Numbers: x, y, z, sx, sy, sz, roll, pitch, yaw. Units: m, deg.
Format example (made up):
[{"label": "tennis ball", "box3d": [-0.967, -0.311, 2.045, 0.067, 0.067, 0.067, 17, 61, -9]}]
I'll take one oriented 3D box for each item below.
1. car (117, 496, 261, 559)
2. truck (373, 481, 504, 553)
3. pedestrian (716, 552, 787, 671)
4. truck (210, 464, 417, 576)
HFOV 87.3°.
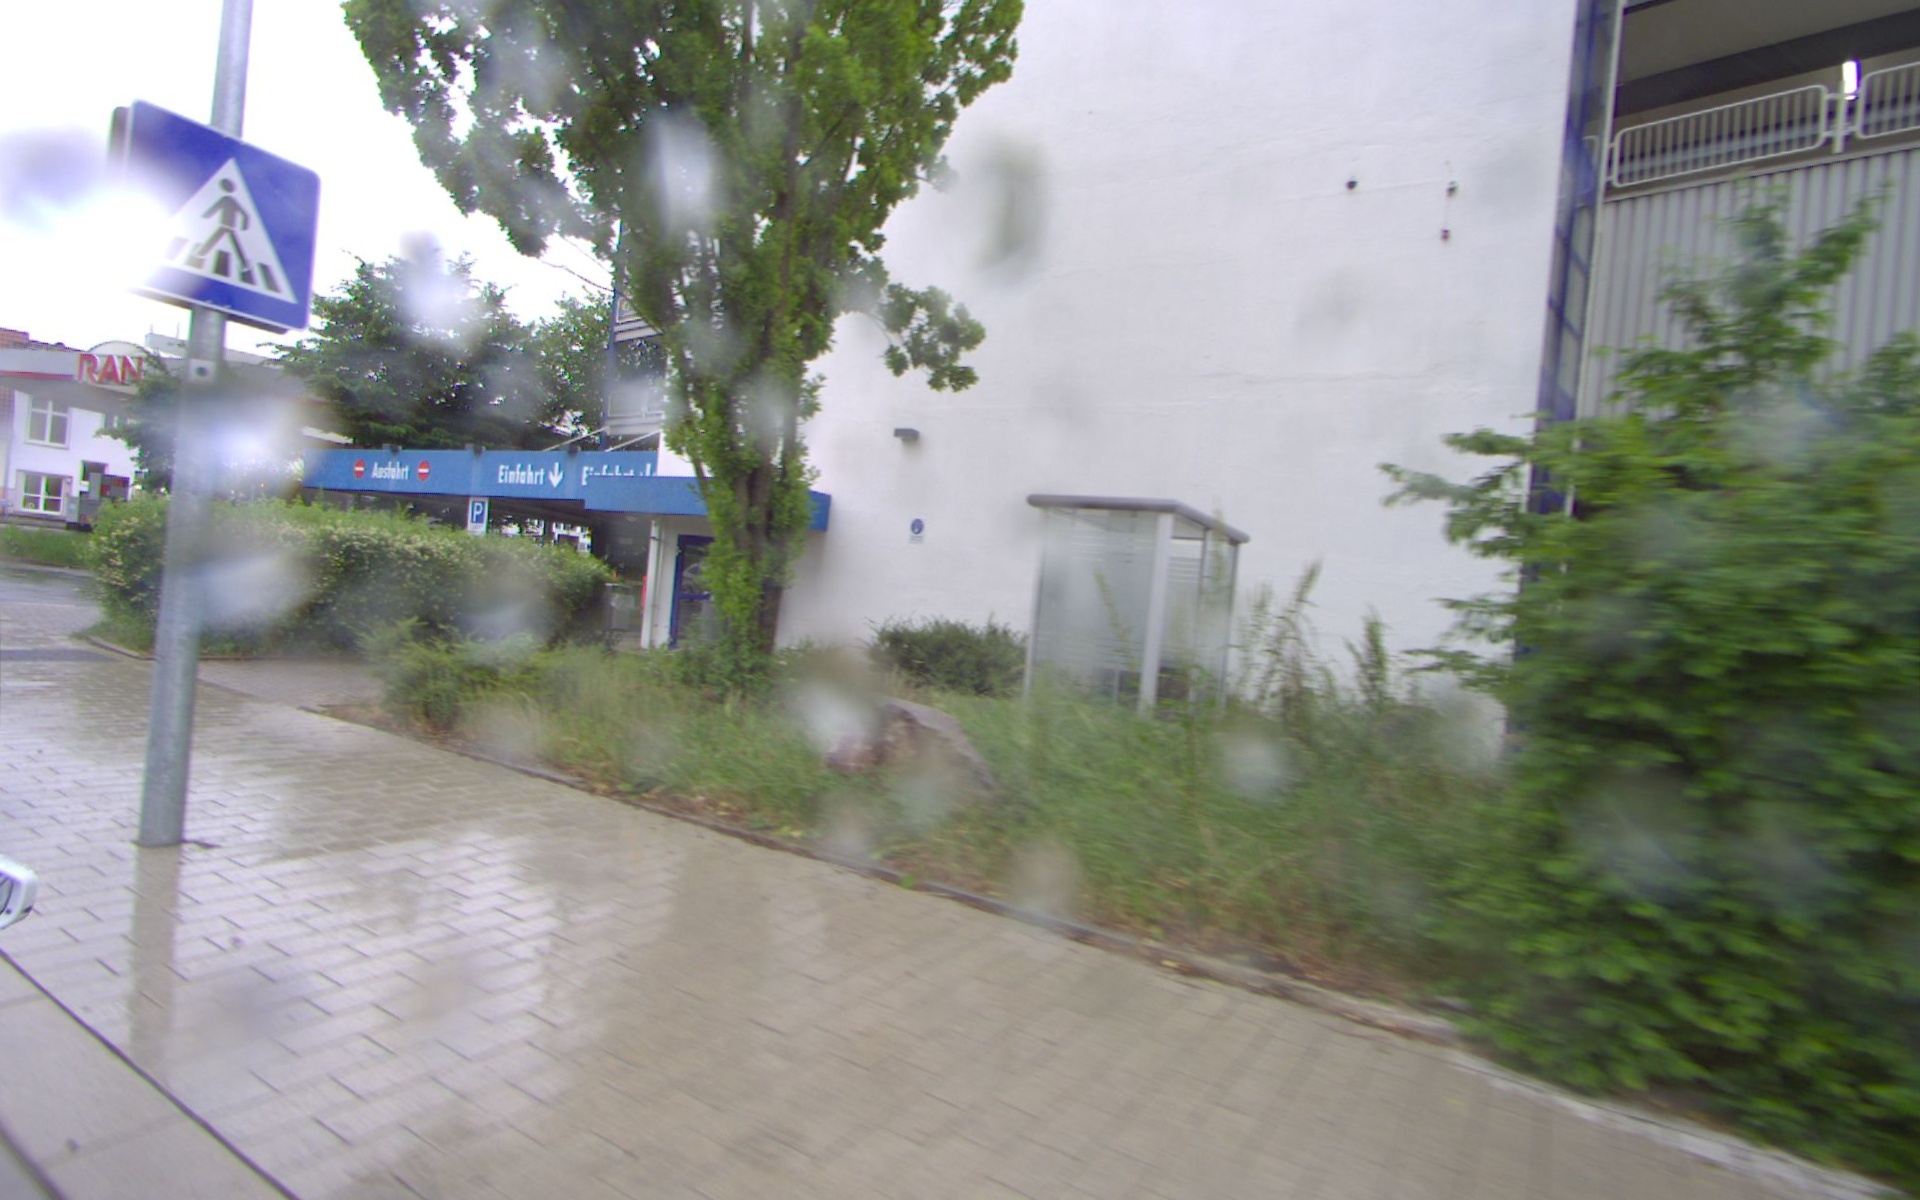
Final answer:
[{"label": "car", "box3d": [-27.195, -2.532, 35.621, 1.917, 1.573, 3.533, 6, -3, 12]}, {"label": "truck", "box3d": [-18.587, -2.965, 35.852, 3.930, 2.034, 2.002, 5, -5, 26]}, {"label": "pedestrian", "box3d": [-3.415, 0.193, 16.474, 0.759, 1.858, 0.570, 7, 0, 29]}, {"label": "truck", "box3d": [-29.055, -3.457, 45.772, 2.629, 3.479, 7.764, 6, -5, 17]}]
